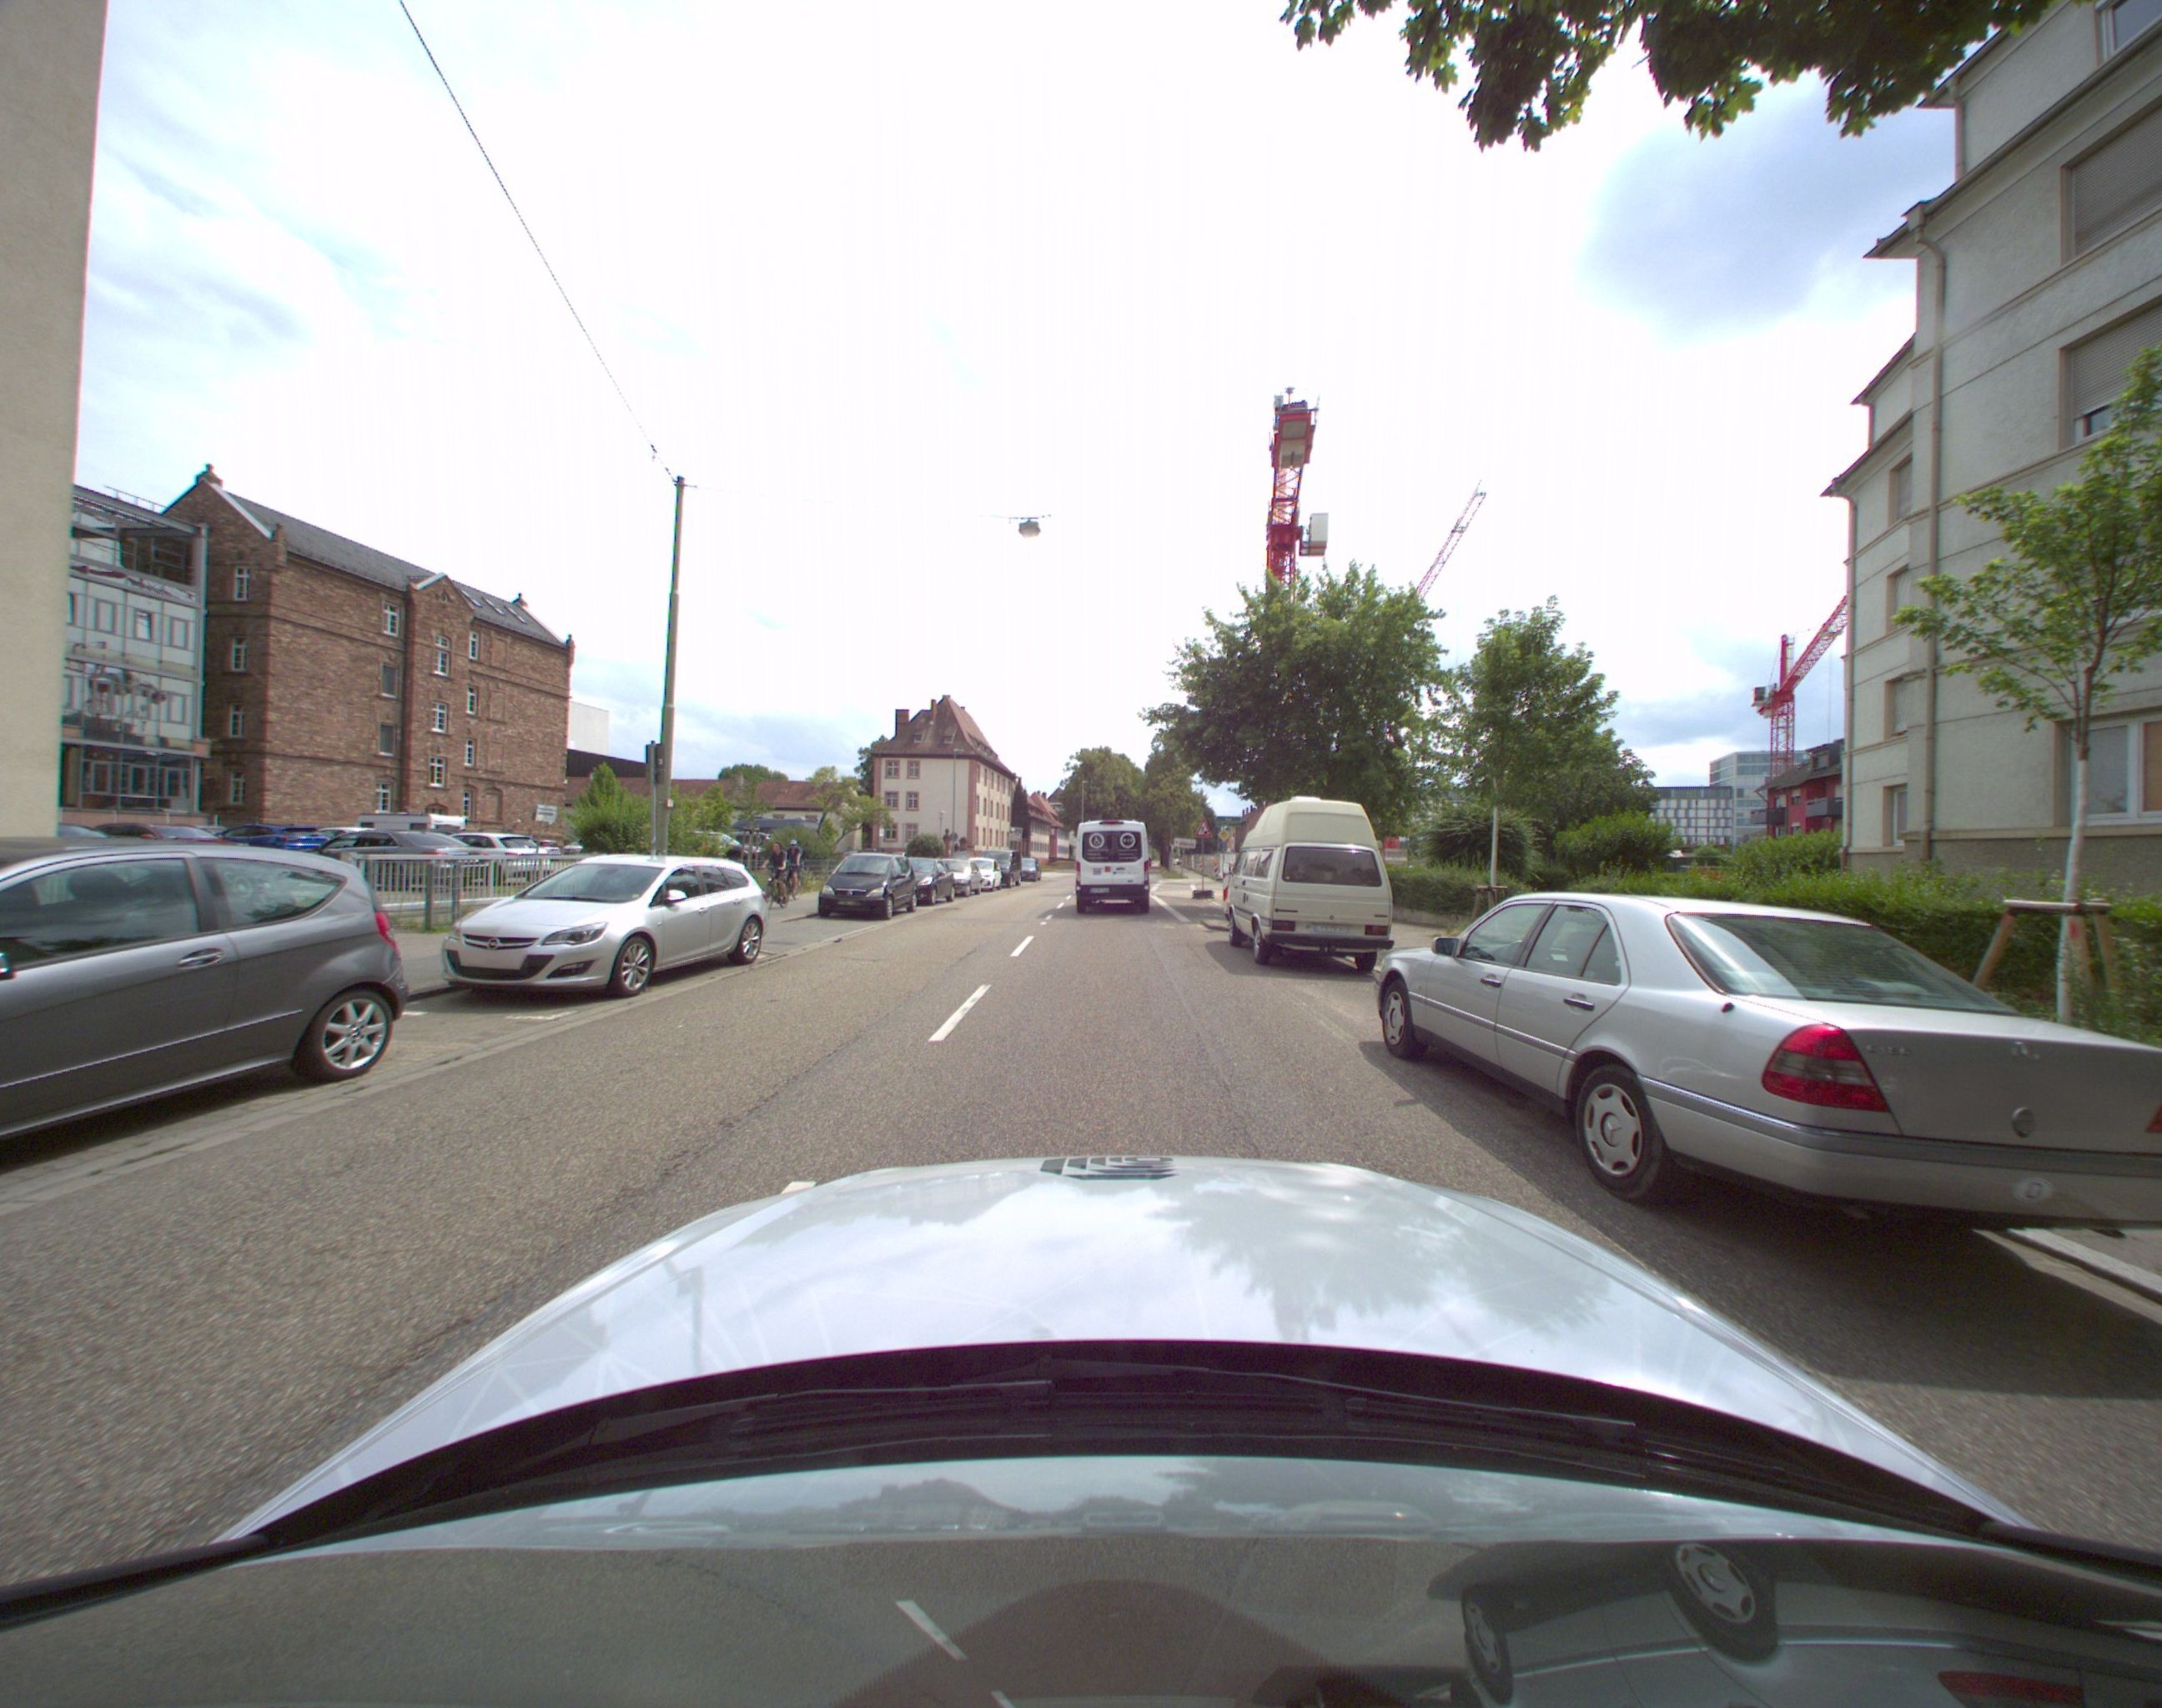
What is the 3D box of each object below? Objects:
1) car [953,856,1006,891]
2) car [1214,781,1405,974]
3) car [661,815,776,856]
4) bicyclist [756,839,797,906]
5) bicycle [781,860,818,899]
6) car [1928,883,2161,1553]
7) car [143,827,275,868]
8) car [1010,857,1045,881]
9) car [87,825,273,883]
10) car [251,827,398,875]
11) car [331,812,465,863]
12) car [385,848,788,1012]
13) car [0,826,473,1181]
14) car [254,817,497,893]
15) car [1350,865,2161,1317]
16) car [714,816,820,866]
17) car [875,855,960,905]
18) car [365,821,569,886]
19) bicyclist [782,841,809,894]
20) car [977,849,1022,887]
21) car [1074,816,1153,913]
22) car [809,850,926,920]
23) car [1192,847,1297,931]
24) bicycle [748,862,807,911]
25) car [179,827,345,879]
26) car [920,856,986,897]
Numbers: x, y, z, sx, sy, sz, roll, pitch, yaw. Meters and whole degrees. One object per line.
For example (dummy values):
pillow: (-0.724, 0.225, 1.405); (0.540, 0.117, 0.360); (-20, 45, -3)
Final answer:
car: (-4.663, 0.859, 37.926); (1.779, 1.482, 3.863); (2, 0, 2)
car: (3.583, 0.340, 13.766); (1.890, 2.587, 4.830); (3, 0, 2)
car: (-16.068, -0.813, 36.217); (4.155, 1.684, 2.002); (1, 0, 2)
bicyclist: (-7.724, 0.462, 20.699); (0.534, 1.653, 1.049); (0, -1, 6)
bicycle: (-8.597, 0.763, 24.917); (0.539, 1.175, 1.351); (0, 0, 5)
car: (3.289, 0.851, 0.320); (1.707, 1.465, 3.999); (3, 0, -1)
car: (-39.196, -0.281, 36.660); (3.968, 1.794, 1.939); (0, 0, 4)
car: (-3.471, 0.958, 53.176); (1.779, 1.482, 3.863); (2, 0, 2)
car: (-28.853, -0.007, 26.168); (3.968, 1.794, 1.939); (0, 0, 4)
car: (-29.152, -0.128, 31.481); (3.968, 1.794, 1.939); (0, 0, 4)
car: (-38.037, -0.909, 45.471); (5.457, 2.623, 2.459); (1, 0, 4)
car: (-5.557, 0.735, 10.074); (1.878, 1.488, 4.637); (2, 0, 3)
car: (-5.758, 0.649, 4.304); (1.879, 1.579, 4.153); (2, 0, 0)
car: (-16.863, 0.007, 19.624); (4.155, 1.684, 2.002); (1, 0, 2)
car: (3.325, 0.877, 5.148); (1.675, 1.469, 4.554); (3, 0, 0)
car: (-15.486, -0.659, 40.272); (4.391, 2.348, 2.001); (1, 0, 2)
car: (-5.229, 0.792, 26.524); (1.779, 1.462, 3.863); (2, 0, 2)
car: (-16.991, -0.027, 22.694); (4.155, 1.684, 2.002); (1, 0, 2)
bicyclist: (-8.620, 0.401, 24.596); (0.533, 1.585, 0.692); (0, -1, 4)
car: (-4.277, 0.717, 43.309); (1.779, 1.827, 3.976); (2, 0, 2)
car: (0.838, 0.297, 23.583); (2.064, 2.540, 4.633); (0, -1, 0)
car: (-5.326, 0.731, 20.852); (1.779, 1.543, 3.863); (2, 0, 2)
car: (3.761, 0.768, 19.365); (1.706, 1.695, 4.002); (3, 0, 1)
bicycle: (-7.716, 0.800, 20.804); (0.538, 1.175, 2.095); (0, 0, 6)
car: (-28.949, -0.034, 28.860); (3.968, 1.794, 2.003); (0, 0, 4)
car: (-4.971, 0.841, 32.208); (1.779, 1.462, 3.863); (2, 0, 2)
